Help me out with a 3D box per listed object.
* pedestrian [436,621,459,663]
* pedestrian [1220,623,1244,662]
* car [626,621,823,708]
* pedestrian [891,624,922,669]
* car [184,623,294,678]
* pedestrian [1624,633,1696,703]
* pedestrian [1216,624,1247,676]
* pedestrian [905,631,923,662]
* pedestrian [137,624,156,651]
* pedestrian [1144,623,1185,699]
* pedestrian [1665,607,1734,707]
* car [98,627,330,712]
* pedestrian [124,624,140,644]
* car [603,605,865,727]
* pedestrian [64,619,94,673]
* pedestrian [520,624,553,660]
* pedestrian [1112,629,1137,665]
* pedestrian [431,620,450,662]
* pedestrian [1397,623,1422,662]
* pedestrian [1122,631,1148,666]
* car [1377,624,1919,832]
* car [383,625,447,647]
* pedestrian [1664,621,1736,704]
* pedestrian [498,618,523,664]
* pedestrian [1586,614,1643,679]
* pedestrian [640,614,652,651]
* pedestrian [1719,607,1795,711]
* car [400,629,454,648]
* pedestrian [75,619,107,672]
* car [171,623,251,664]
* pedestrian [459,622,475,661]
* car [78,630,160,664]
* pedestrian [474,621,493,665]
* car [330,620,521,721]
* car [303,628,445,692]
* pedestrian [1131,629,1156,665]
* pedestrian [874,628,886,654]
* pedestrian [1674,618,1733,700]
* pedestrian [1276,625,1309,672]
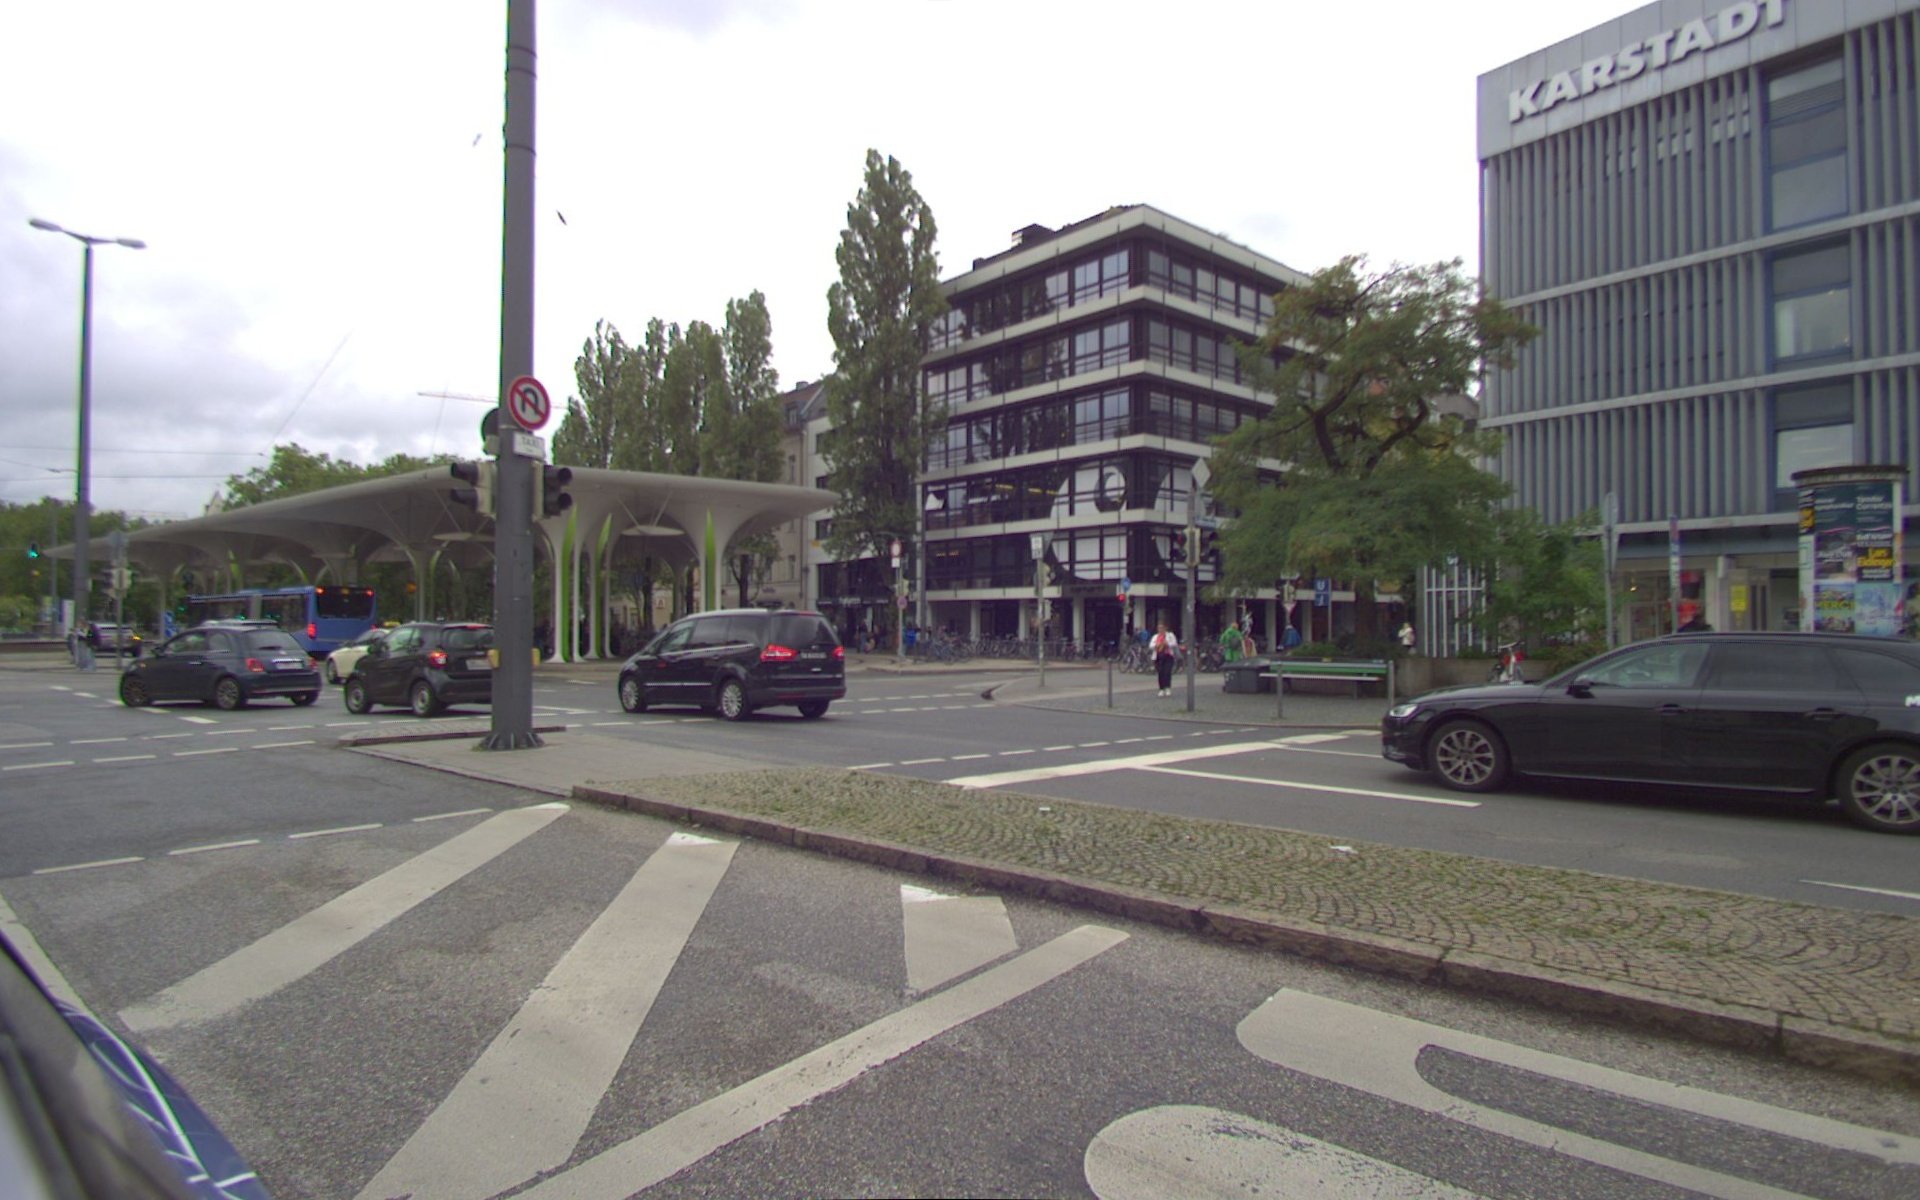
[{"bbox_3d":[-20.913,1.694,41.311,0.736,1.687,0.633,1,-2,-34],"label":"pedestrian"},{"bbox_3d":[14.316,2.218,53.216,0.904,2.029,0.836,1,-2,-44],"label":"pedestrian"},{"bbox_3d":[-4.949,1.278,21.007,4.254,1.626,1.820,-2,-2,40],"label":"car"},{"bbox_3d":[-2.004,1.735,37.874,0.790,1.654,0.845,-2,-2,45],"label":"pedestrian"},{"bbox_3d":[-23.561,1.620,33.014,4.727,1.683,1.726,-2,-3,39],"label":"car"},{"bbox_3d":[13.244,1.275,19.153,1.044,1.285,0.539,-2,-2,41],"label":"pedestrian"},{"bbox_3d":[8.612,1.571,32.139,0.805,1.631,0.834,-1,-2,25],"label":"pedestrian"},{"bbox_3d":[-2.704,2.725,59.579,0.710,1.814,0.829,1,-2,-40],"label":"pedestrian"},{"bbox_3d":[-57.147,2.618,71.113,0.802,1.853,0.664,-1,-1,11],"label":"pedestrian"},{"bbox_3d":[4.388,1.287,21.682,0.717,1.586,0.634,-1,-2,27],"label":"pedestrian"},{"bbox_3d":[12.759,0.964,17.460,0.760,1.666,0.753,1,-2,-39],"label":"pedestrian"},{"bbox_3d":[-13.603,1.234,18.515,3.505,1.457,1.543,-1,-2,14],"label":"car"},{"bbox_3d":[-67.228,2.769,82.152,0.737,1.641,0.734,-1,-2,19],"label":"pedestrian"},{"bbox_3d":[-3.845,1.021,16.787,4.586,1.752,1.916,-2,-3,41],"label":"car"},{"bbox_3d":[-27.124,1.406,31.161,0.514,1.631,0.464,0,-2,-6],"label":"pedestrian"},{"bbox_3d":[-17.836,1.758,42.642,0.852,1.464,1.012,-2,-2,37],"label":"pedestrian"},{"bbox_3d":[7.636,2.174,47.029,0.777,1.654,0.860,1,-2,-38],"label":"pedestrian"},{"bbox_3d":[-21.628,1.694,42.143,0.693,1.724,0.759,1,-2,-27],"label":"pedestrian"},{"bbox_3d":[16.682,1.563,37.540,0.583,1.423,0.611,1,-2,-38],"label":"pedestrian"},{"bbox_3d":[8.208,2.262,47.449,0.730,1.600,0.951,1,-2,-38],"label":"pedestrian"},{"bbox_3d":[6.113,0.909,8.348,4.598,1.393,1.825,-2,-2,41],"label":"car"},{"bbox_3d":[-50.090,3.259,93.056,4.853,1.962,1.874,1,-2,-40],"label":"car"},{"bbox_3d":[13.809,1.158,18.911,0.763,1.504,0.750,-1,-2,5],"label":"pedestrian"},{"bbox_3d":[-18.113,1.645,40.797,0.793,1.831,0.707,1,-2,-35],"label":"pedestrian"},{"bbox_3d":[16.520,1.166,25.561,0.786,1.593,0.979,1,-2,-39],"label":"pedestrian"},{"bbox_3d":[-16.391,1.700,52.812,0.418,1.947,0.481,-1,-2,12],"label":"pedestrian"},{"bbox_3d":[13.975,1.023,17.770,0.766,1.787,0.747,-1,-2,17],"label":"pedestrian"},{"bbox_3d":[-47.764,3.432,90.767,3.938,1.628,1.833,1,-2,-42],"label":"car"},{"bbox_3d":[-26.719,1.394,31.131,0.551,1.631,0.487,0,-2,6],"label":"pedestrian"},{"bbox_3d":[-30.475,1.753,41.140,3.996,1.608,1.681,-2,-2,39],"label":"car"},{"bbox_3d":[-20.486,1.718,42.055,0.511,1.600,0.482,0,-2,-19],"label":"pedestrian"},{"bbox_3d":[-37.309,2.044,44.874,4.162,1.422,1.974,-1,-1,38],"label":"car"},{"bbox_3d":[-18.815,1.689,39.955,0.540,1.733,0.616,1,-2,-42],"label":"pedestrian"},{"bbox_3d":[-8.967,1.132,16.992,2.823,1.546,1.494,-1,-2,28],"label":"car"},{"bbox_3d":[-15.133,1.480,26.031,4.637,1.432,1.747,-2,0,41],"label":"car"},{"bbox_3d":[8.687,2.202,47.858,0.789,1.666,0.854,1,-2,-38],"label":"pedestrian"},{"bbox_3d":[-5.031,2.552,63.637,0.584,1.604,0.675,1,-2,-20],"label":"pedestrian"},{"bbox_3d":[14.594,1.148,19.890,0.747,1.566,0.766,-1,-2,25],"label":"pedestrian"},{"bbox_3d":[12.091,1.746,36.810,0.863,1.700,0.777,-2,-2,44],"label":"pedestrian"}]
